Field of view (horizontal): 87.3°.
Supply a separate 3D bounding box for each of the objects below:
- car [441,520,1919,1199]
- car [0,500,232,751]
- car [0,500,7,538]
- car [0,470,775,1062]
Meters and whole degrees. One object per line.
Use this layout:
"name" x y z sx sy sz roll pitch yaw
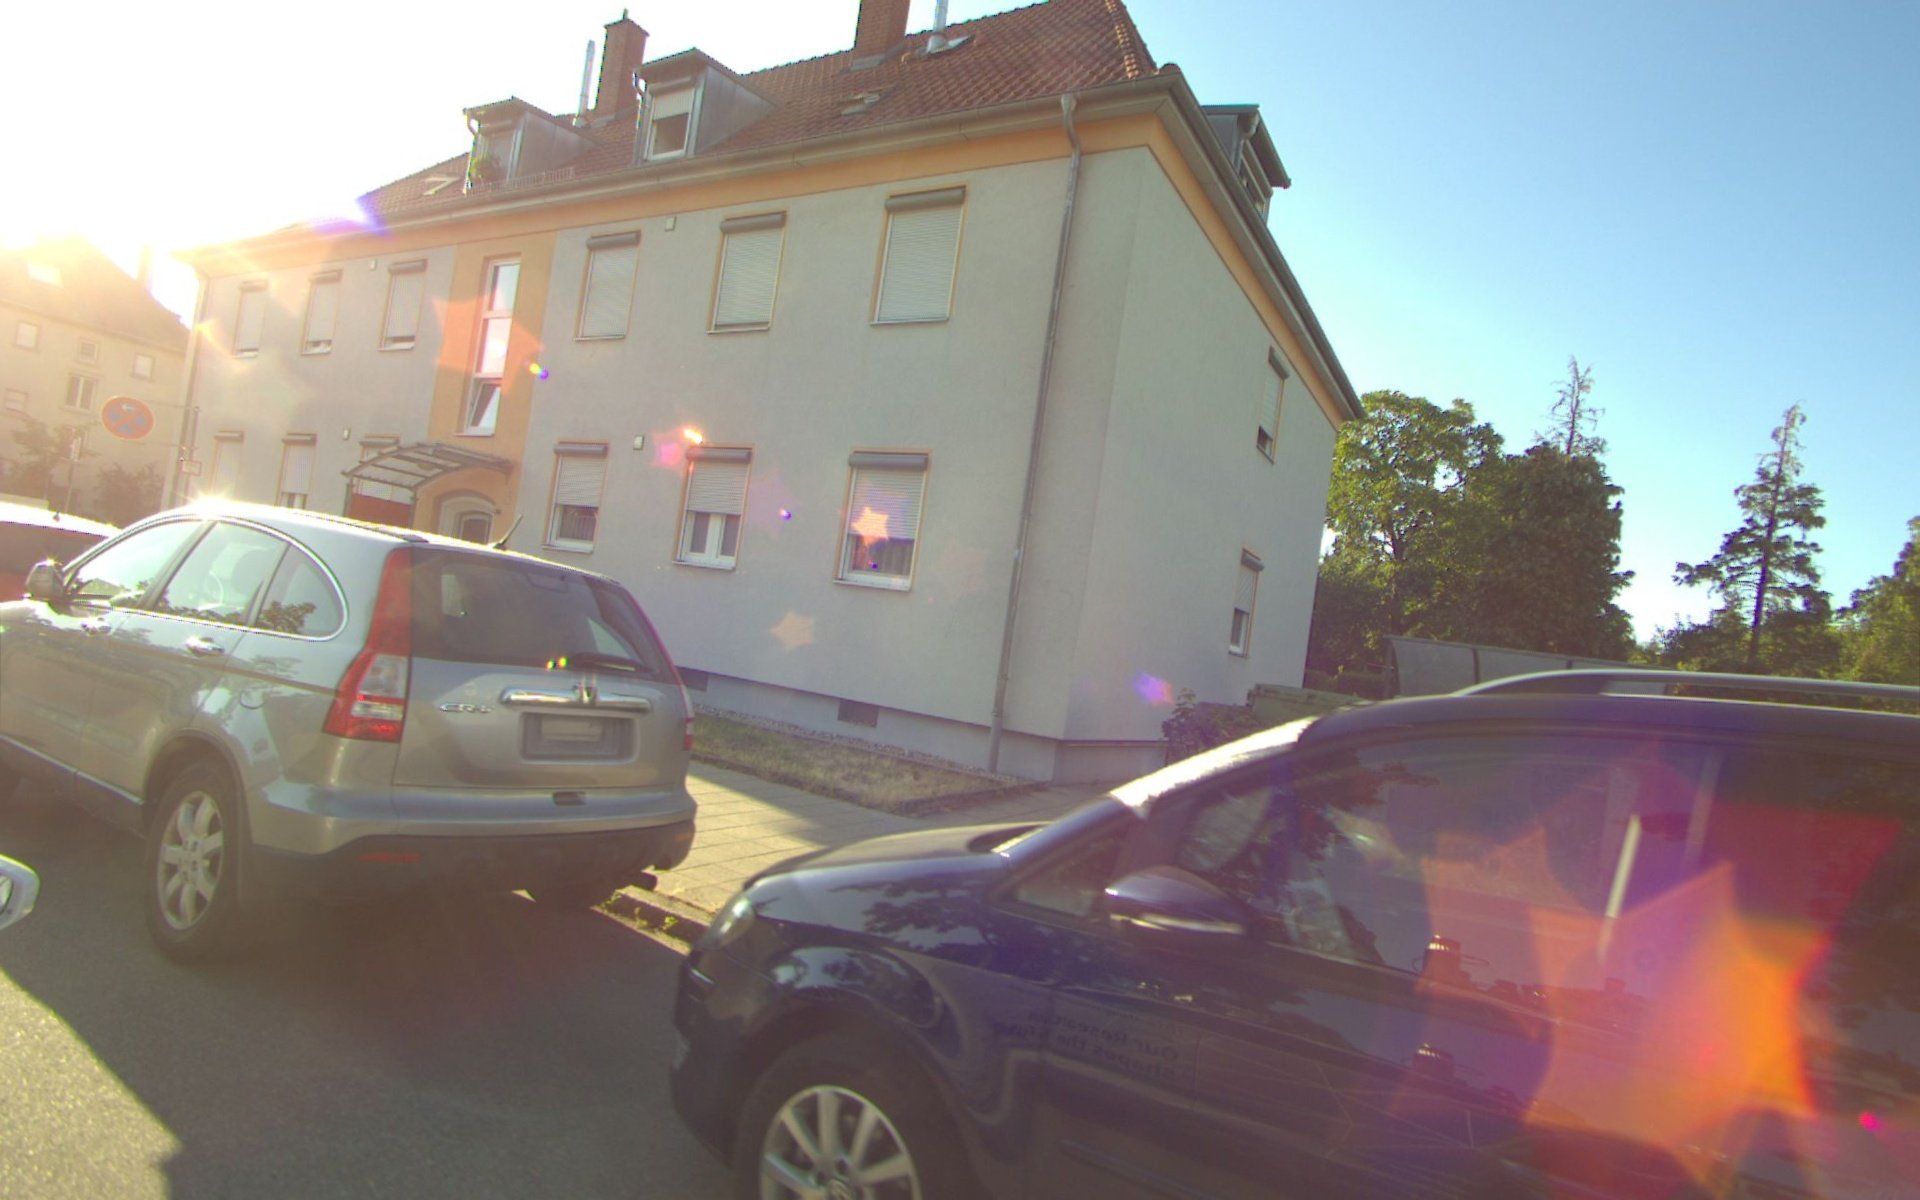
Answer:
"car" 1.181 0.942 2.222 4.685 1.652 1.771 6 -4 31
"car" -7.439 0.019 7.601 3.672 1.545 1.732 7 -1 31
"car" -11.879 -0.531 10.191 4.485 1.656 1.724 7 -4 28
"car" -3.372 0.407 4.970 4.677 1.662 1.781 7 -2 31
